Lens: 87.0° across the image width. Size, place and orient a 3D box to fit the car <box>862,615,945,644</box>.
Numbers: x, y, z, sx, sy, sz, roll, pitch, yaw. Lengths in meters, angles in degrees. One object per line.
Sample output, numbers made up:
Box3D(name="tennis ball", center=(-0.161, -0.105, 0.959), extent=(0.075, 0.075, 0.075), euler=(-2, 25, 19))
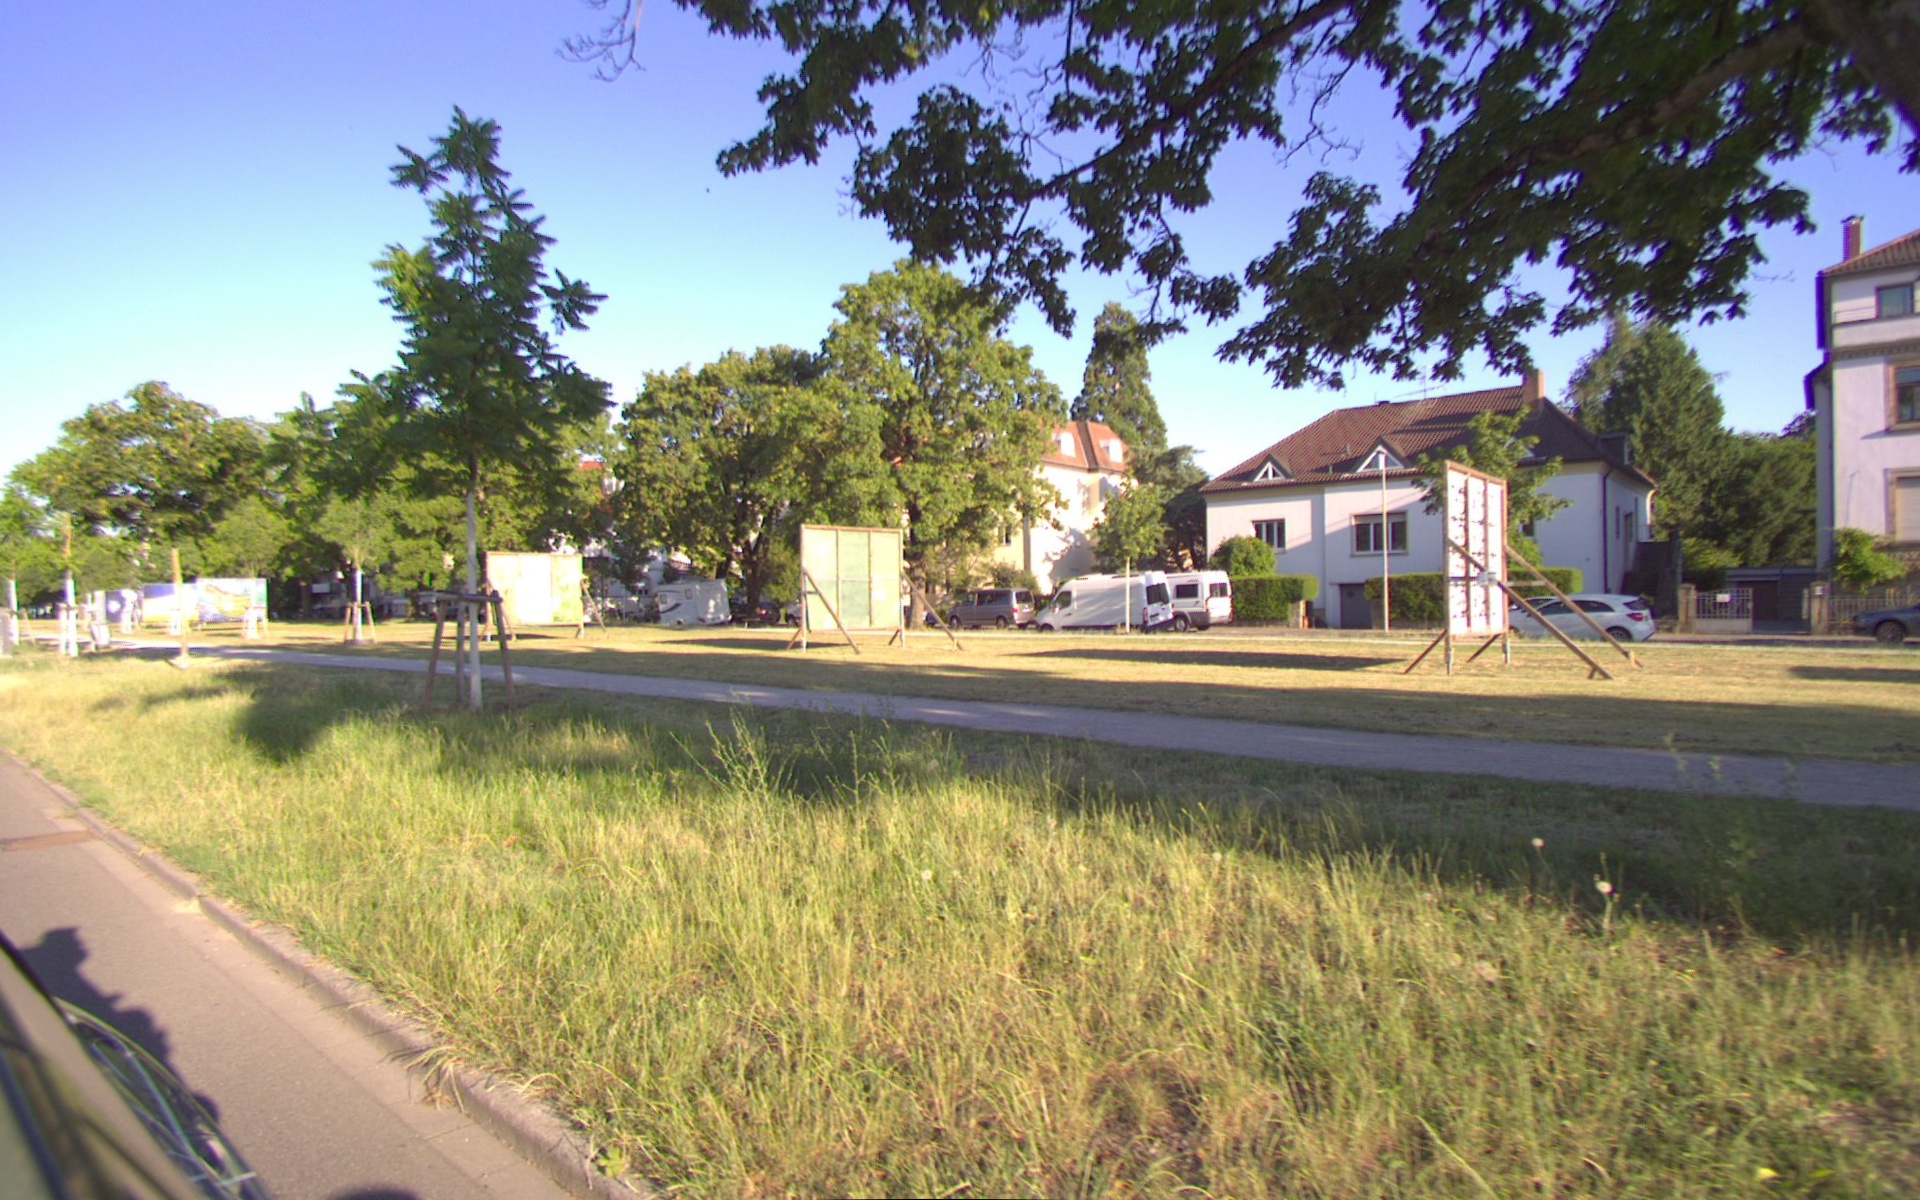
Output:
Box3D(name="car", center=(-3.091, 1.579, 54.700), extent=(1.970, 1.413, 4.564), euler=(5, -3, -45))

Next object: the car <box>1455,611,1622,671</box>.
Box3D(name="car", center=(19.598, 1.364, 34.410), extent=(4.712, 1.868, 1.712), euler=(0, -3, 41))

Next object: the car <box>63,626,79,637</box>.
Box3D(name="car", center=(-173.838, 6.198, 197.848), extent=(4.001, 2.029, 1.971), euler=(-2, -2, 44))

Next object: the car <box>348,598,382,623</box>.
Box3D(name="car", center=(-63.229, 1.098, 107.512), extent=(3.999, 2.560, 1.972), euler=(1, 0, 42))

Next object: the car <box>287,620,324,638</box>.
Box3D(name="car", center=(-66.433, 2.931, 102.742), extent=(4.341, 1.742, 1.973), euler=(-2, -1, 40))

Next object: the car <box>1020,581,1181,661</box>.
Box3D(name="car", center=(5.348, 0.806, 39.152), extent=(5.870, 2.847, 2.236), euler=(0, -3, 42))

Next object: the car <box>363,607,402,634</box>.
Box3D(name="car", center=(-59.569, 2.132, 104.330), extent=(5.043, 2.660, 1.924), euler=(0, -3, 42))

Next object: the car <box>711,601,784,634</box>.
Box3D(name="car", center=(-13.470, 1.102, 63.936), extent=(5.048, 2.019, 1.949), euler=(-1, 0, 42))

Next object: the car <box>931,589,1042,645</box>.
Box3D(name="car", center=(1.285, 0.829, 50.588), extent=(5.321, 2.624, 2.114), euler=(0, -3, 40))

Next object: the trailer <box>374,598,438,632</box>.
Box3D(name="trailer", center=(-46.522, 1.242, 84.957), extent=(6.633, 2.679, 2.448), euler=(0, -3, 41))

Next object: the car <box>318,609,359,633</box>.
Box3D(name="car", center=(-58.978, 2.034, 96.041), extent=(4.566, 2.191, 1.974), euler=(-2, -1, 39))

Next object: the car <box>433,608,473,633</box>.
Box3D(name="car", center=(-45.978, 1.866, 91.782), extent=(3.999, 2.171, 1.972), euler=(-2, -1, 42))

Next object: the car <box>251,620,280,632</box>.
Box3D(name="car", center=(-90.131, 3.414, 131.279), extent=(3.993, 1.510, 1.975), euler=(-2, -1, 37))

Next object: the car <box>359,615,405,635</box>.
Box3D(name="car", center=(-50.805, 2.142, 88.917), extent=(4.947, 1.654, 1.974), euler=(-1, 1, 40))

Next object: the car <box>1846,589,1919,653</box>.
Box3D(name="car", center=(27.234, 0.604, 27.542), extent=(4.665, 1.715, 1.763), euler=(0, -3, 41))

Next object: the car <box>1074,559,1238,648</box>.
Box3D(name="car", center=(8.438, 0.175, 44.073), extent=(6.763, 3.586, 2.279), euler=(0, -3, 42))

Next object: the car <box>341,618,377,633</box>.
Box3D(name="car", center=(-54.810, 2.307, 92.316), extent=(4.043, 1.325, 1.832), euler=(-1, 1, 44))

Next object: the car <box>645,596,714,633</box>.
Box3D(name="car", center=(-16.126, 0.846, 58.139), extent=(3.999, 2.029, 1.972), euler=(-2, -1, 42))

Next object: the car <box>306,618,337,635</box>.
Box3D(name="car", center=(-73.626, 3.063, 116.611), extent=(4.281, 1.838, 1.605), euler=(-2, -1, 37))

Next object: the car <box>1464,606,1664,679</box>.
Box3D(name="car", center=(17.190, 1.181, 28.951), extent=(4.642, 1.914, 1.813), euler=(0, -3, 43))

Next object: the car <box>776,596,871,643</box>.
Box3D(name="car", center=(-8.097, 1.111, 59.528), extent=(6.088, 2.617, 1.972), euler=(0, -3, 41))

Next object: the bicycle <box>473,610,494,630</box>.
Box3D(name="bicycle", center=(-32.211, 1.370, 68.417), extent=(2.331, 1.352, 0.505), euler=(-2, -1, 45))

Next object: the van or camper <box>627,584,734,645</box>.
Box3D(name="van or camper", center=(-16.126, 0.846, 58.139), extent=(6.903, 3.287, 2.614), euler=(-2, -1, 42))

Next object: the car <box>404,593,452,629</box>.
Box3D(name="car", center=(-50.680, 1.082, 96.352), extent=(6.072, 3.274, 1.973), euler=(-2, -2, 41))
